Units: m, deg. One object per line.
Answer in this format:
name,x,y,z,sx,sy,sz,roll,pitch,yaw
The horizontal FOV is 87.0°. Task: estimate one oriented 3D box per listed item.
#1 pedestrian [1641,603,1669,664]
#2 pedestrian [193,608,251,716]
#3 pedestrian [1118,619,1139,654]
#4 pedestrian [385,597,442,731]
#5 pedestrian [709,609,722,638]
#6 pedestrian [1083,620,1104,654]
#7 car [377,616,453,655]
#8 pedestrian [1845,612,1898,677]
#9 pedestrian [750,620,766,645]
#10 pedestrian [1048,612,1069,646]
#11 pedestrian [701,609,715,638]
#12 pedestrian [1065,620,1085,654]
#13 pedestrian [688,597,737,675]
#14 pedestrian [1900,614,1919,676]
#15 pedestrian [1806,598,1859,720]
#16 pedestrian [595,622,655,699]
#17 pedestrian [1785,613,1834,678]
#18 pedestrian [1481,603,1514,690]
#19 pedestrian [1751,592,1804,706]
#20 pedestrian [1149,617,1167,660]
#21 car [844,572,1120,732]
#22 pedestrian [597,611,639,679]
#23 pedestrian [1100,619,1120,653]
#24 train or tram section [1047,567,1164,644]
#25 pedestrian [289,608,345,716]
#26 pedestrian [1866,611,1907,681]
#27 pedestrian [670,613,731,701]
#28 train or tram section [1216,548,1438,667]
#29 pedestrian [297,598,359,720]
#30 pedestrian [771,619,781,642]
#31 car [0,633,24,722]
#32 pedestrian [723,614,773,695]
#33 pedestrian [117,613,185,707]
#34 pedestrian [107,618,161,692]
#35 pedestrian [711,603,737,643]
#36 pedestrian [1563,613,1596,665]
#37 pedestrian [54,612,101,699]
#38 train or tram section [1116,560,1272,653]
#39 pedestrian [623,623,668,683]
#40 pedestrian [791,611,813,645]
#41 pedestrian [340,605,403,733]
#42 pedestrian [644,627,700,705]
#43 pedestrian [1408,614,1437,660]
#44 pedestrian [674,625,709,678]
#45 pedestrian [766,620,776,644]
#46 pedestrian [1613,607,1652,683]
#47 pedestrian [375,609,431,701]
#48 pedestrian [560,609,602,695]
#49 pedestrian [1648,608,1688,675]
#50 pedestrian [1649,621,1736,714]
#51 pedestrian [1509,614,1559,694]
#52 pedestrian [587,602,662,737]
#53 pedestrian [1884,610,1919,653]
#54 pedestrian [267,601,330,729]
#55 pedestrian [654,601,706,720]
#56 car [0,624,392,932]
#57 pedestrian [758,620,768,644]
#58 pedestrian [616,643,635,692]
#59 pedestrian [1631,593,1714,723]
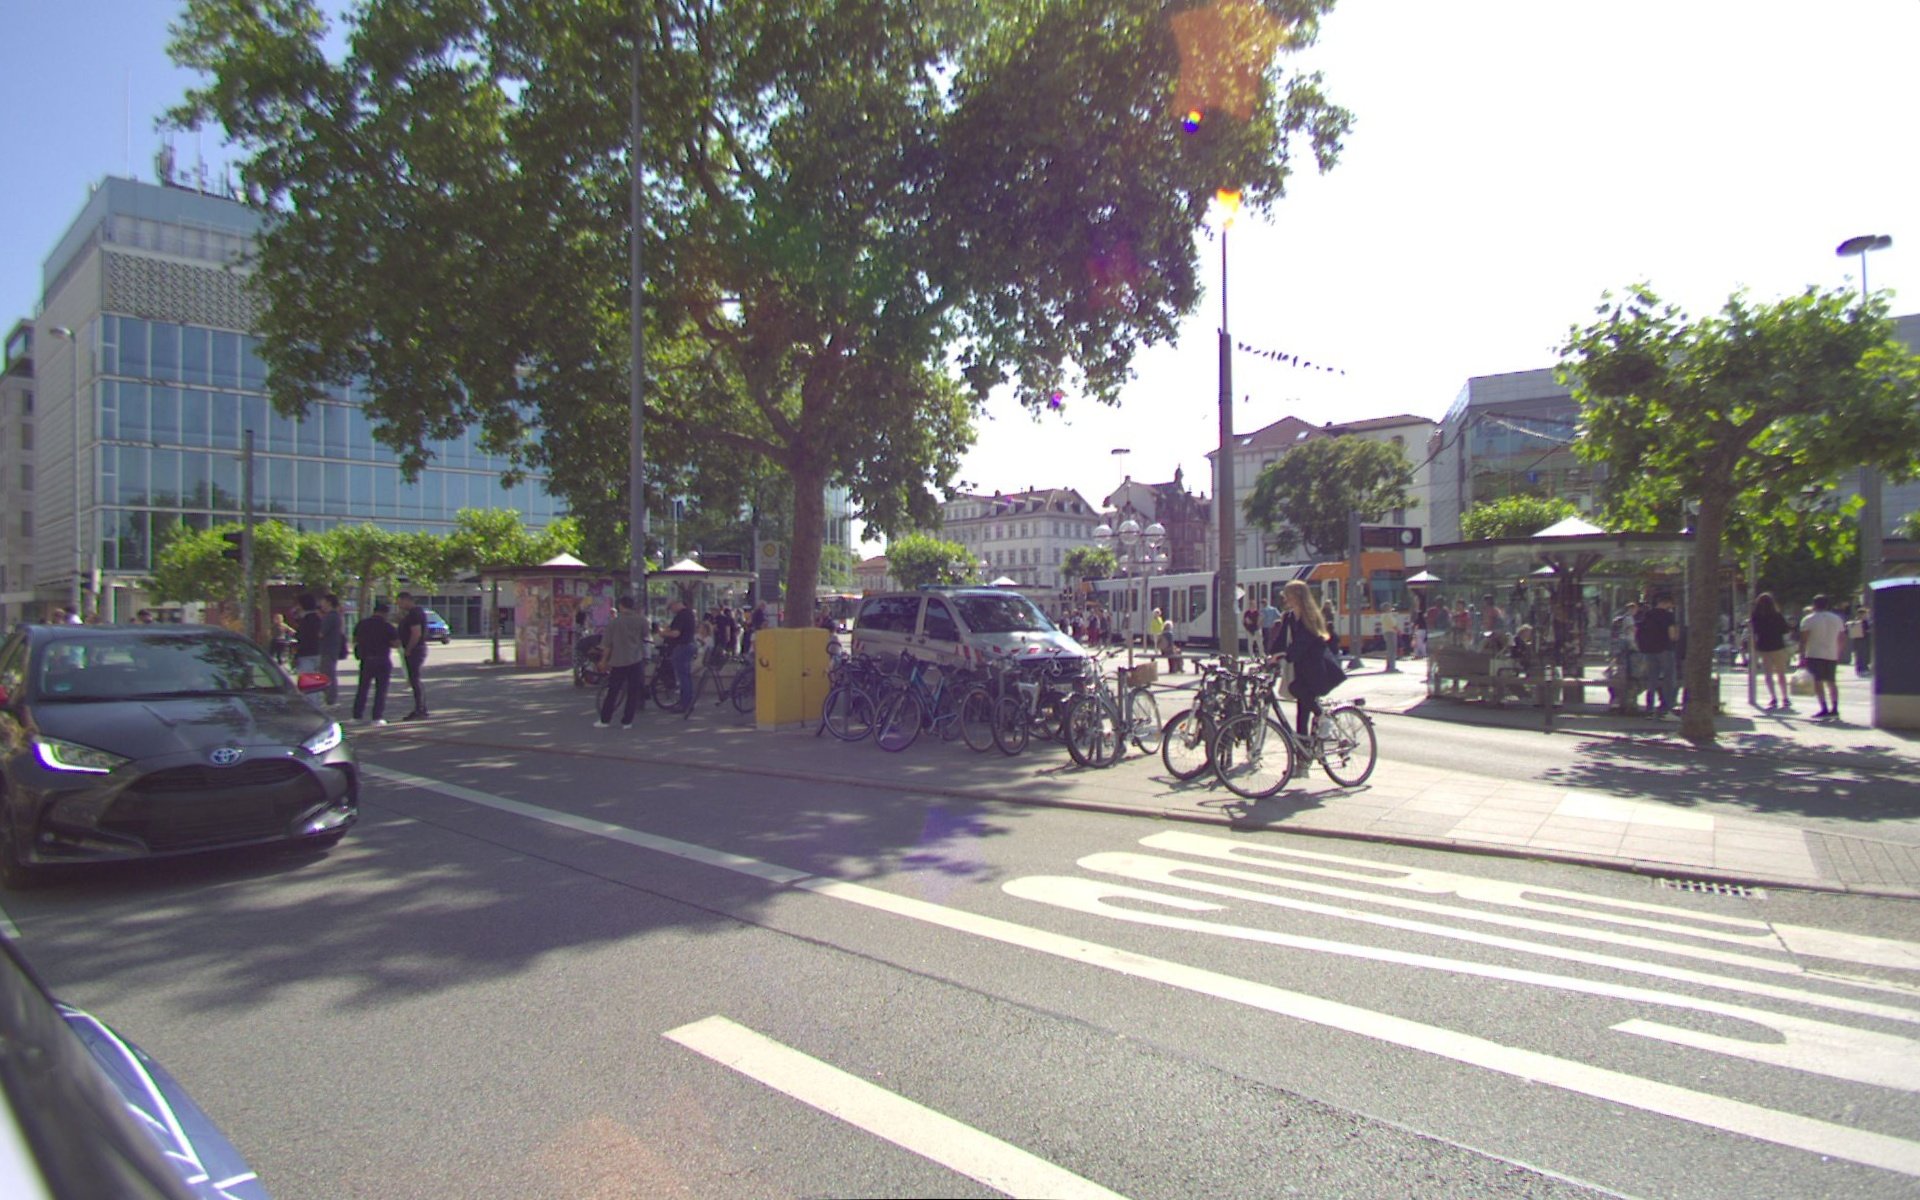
pedestrian,20.034,0.963,29.161,0.462,1.731,0.555,-1,-4,18
pedestrian,-12.370,1.020,16.971,0.752,1.760,0.605,-2,-1,38
pedestrian,7.390,1.595,44.328,0.555,1.483,0.748,-2,0,39
pedestrian,-7.803,0.888,14.452,0.510,1.849,0.716,-2,0,-42
pedestrian,-13.027,1.249,53.903,0.410,1.483,0.459,-2,0,38
pedestrian,5.989,1.638,45.415,0.555,1.483,0.748,-2,0,39
car,-29.766,1.931,55.262,3.988,2.029,1.978,-2,0,33
pedestrian,21.629,1.052,24.033,0.675,1.513,0.621,-1,-4,18
pedestrian,-12.201,1.942,61.024,0.757,1.483,0.548,-2,0,39
pedestrian,4.334,1.278,44.544,0.555,1.483,0.748,-2,0,39
pedestrian,-12.402,1.167,49.793,0.436,1.394,0.458,-2,0,38
pedestrian,5.205,1.661,45.779,0.555,1.483,0.748,-2,0,39
pedestrian,-5.784,0.824,23.649,0.779,1.760,0.744,-2,0,30
pedestrian,23.272,1.089,24.459,0.549,1.477,0.621,-1,-4,18
pedestrian,12.644,0.852,14.684,0.508,1.732,0.476,-3,-5,40
pedestrian,-6.463,1.146,19.522,0.779,1.418,0.744,-2,0,30
pedestrian,21.251,1.142,25.325,0.675,1.610,0.621,-1,-4,18
pedestrian,11.298,0.978,21.275,0.485,1.791,0.519,-3,-5,39
pedestrian,13.483,0.806,16.704,0.605,1.830,0.570,-3,-5,39
pedestrian,6.883,1.343,35.186,0.395,1.483,0.404,-2,0,-43
car,0.101,0.684,15.776,1.966,2.029,5.083,-2,0,-29
pedestrian,-9.232,1.205,27.319,0.782,1.760,0.742,-2,0,38
pedestrian,6.702,1.613,45.109,0.555,1.483,0.748,-2,0,39
train or tram section,7.895,0.276,56.526,2.577,3.856,9.548,-2,0,-17
pedestrian,-10.516,0.994,16.545,0.606,1.728,0.597,-2,-2,38
pedestrian,22.716,1.129,24.822,0.518,1.678,0.469,-1,-4,18
pedestrian,-4.910,1.062,19.153,0.779,1.608,0.744,-2,0,30
train or tram section,13.378,0.232,38.199,2.577,3.856,9.548,-2,0,-17
pedestrian,-9.979,0.921,15.972,0.737,1.860,0.587,-2,-3,38
pedestrian,-12.435,2.065,68.293,0.546,1.483,0.760,-2,0,-14
car,-17.307,1.296,17.176,3.998,1.415,1.677,-1,-1,41
pedestrian,-4.830,1.228,23.043,0.779,1.760,0.744,-2,0,30
pedestrian,-15.837,1.158,19.826,0.732,1.760,0.866,-2,0,38
pedestrian,-20.709,1.363,25.382,0.732,1.760,0.866,-2,0,38
pedestrian,-10.556,1.011,45.222,0.779,1.760,0.744,-2,0,30
pedestrian,18.799,1.200,30.712,0.674,1.561,0.575,-1,-4,16
pedestrian,-20.095,1.248,23.046,0.732,1.928,0.631,-2,0,38
train or tram section,10.636,0.254,47.347,2.577,3.856,9.548,-2,0,-17
pedestrian,-6.778,1.130,21.837,0.610,1.251,0.667,-2,0,20
pedestrian,-8.416,1.503,53.921,0.779,1.760,0.744,-2,0,30
pedestrian,-8.031,0.916,13.830,0.620,1.661,0.754,-2,0,-24
pedestrian,-5.552,1.250,19.507,0.671,1.435,0.744,-2,0,30
pedestrian,16.036,1.285,35.120,0.568,1.561,0.683,2,-4,-24
pedestrian,-8.048,1.539,30.348,0.772,1.518,0.751,-2,0,3
pedestrian,-12.175,2.039,65.308,0.546,1.483,0.760,-2,0,-14
pedestrian,15.828,1.064,23.830,0.584,1.744,0.557,-1,-4,18
pedestrian,-11.166,1.086,20.296,0.666,1.760,0.742,-2,0,38
pedestrian,-7.995,1.074,21.320,0.739,1.760,0.785,-2,0,-24
pedestrian,19.407,1.135,27.767,0.675,1.809,0.621,-1,-4,18
pedestrian,11.239,1.037,15.548,0.670,1.381,0.804,1,-4,-4
pedestrian,10.760,1.014,18.991,0.580,1.477,0.557,2,-4,-29
pedestrian,-4.400,0.895,13.289,0.639,1.704,0.638,-2,0,27
pedestrian,34.725,1.167,37.209,0.840,1.561,0.677,-1,-4,13
pedestrian,-9.653,0.928,14.783,0.529,1.796,0.745,-2,0,-15
pedestrian,-4.268,0.911,15.424,0.516,1.755,0.511,-2,0,27
car,-5.625,0.919,6.860,3.996,1.486,1.759,-1,-3,40
pedestrian,-12.652,2.022,64.864,0.546,1.483,0.760,-2,0,-14
pedestrian,-6.909,1.396,20.906,0.334,0.974,0.282,-2,0,-20
pedestrian,10.197,0.829,14.510,0.670,1.808,0.625,0,-4,-2
